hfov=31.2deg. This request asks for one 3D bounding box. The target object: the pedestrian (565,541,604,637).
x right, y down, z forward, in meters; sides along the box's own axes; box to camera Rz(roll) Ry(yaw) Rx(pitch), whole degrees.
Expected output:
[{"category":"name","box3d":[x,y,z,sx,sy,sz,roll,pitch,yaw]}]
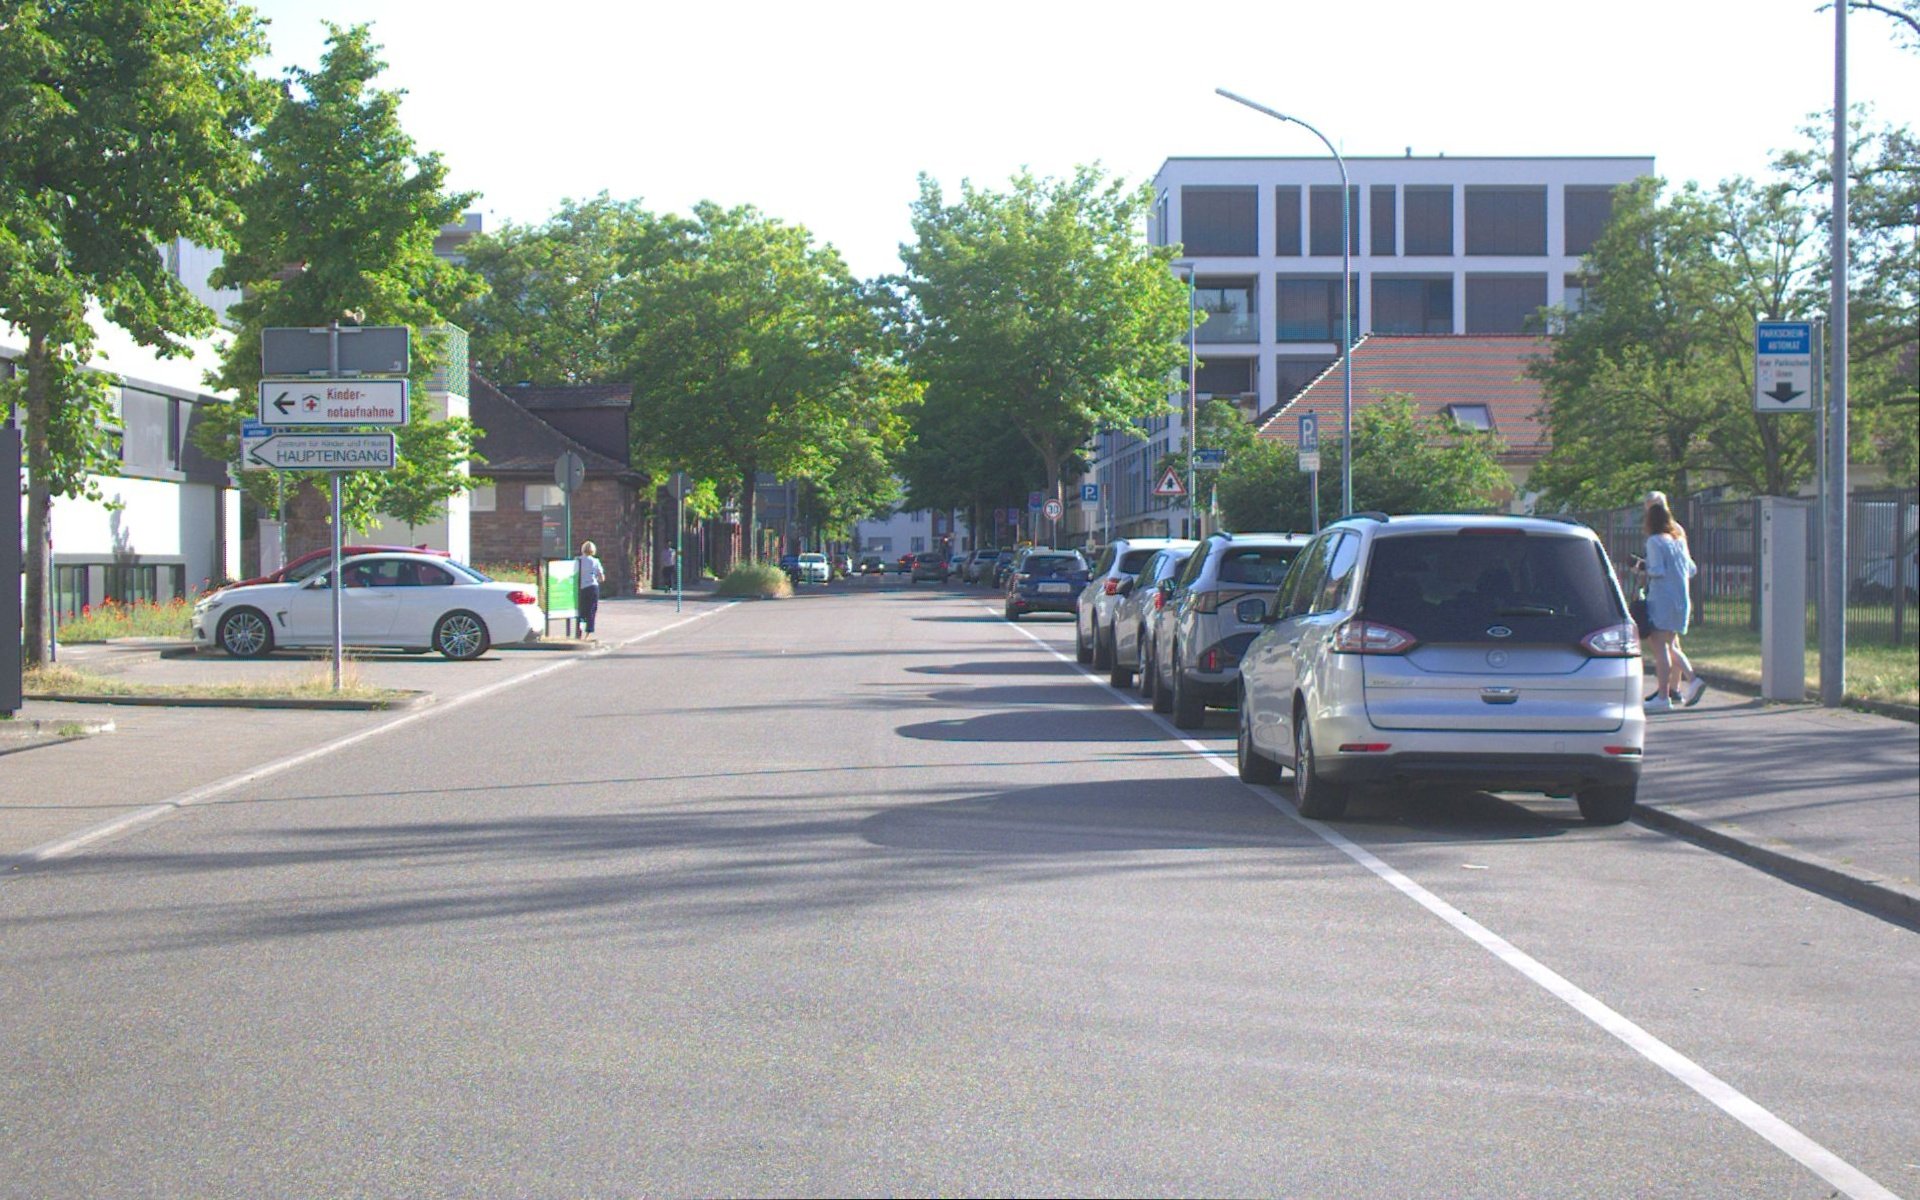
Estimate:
[{"category":"pedestrian","box3d":[-6.003,-0.185,54.992,0.538,1.518,0.607,0,1,0]}]

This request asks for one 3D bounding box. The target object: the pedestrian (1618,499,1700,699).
[{"category":"pedestrian","box3d":[6.053,-0.007,29.784,0.521,1.703,0.522,2,0,-3]}]

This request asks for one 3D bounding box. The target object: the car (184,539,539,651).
[{"category":"car","box3d":[-7.905,-0.079,45.739,4.511,1.362,1.700,1,1,-6]}]

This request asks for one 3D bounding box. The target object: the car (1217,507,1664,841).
[{"category":"car","box3d":[2.714,0.344,20.485,1.809,1.716,4.705,1,1,-2]}]

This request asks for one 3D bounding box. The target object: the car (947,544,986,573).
[{"category":"car","box3d":[0.309,-2.140,177.075,1.993,1.460,3.836,0,1,0]}]

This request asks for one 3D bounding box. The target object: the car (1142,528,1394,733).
[{"category":"car","box3d":[2.585,0.205,29.765,1.700,1.601,4.353,1,1,-1]}]

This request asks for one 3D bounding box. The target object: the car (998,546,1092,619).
[{"category":"car","box3d":[1.728,-0.386,70.984,1.818,1.448,4.214,0,1,0]}]

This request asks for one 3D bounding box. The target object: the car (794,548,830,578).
[{"category":"car","box3d":[-7.402,-1.872,171.735,1.767,1.482,4.000,0,1,-2]}]

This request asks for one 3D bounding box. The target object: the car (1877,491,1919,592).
[{"category":"car","box3d":[23.177,-1.302,76.057,5.285,2.194,2.000,0,2,5]}]

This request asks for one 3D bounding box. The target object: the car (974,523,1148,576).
[{"category":"car","box3d":[2.807,-1.412,95.765,4.522,1.437,1.768,-1,1,-25]}]

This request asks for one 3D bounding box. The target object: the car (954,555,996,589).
[{"category":"car","box3d":[0.694,-1.323,160.961,1.950,1.573,3.836,0,1,0]}]

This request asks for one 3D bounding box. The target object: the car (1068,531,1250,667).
[{"category":"car","box3d":[2.452,-0.055,43.339,1.813,1.583,4.263,1,1,-3]}]

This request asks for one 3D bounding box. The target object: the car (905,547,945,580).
[{"category":"car","box3d":[-1.693,-1.759,164.177,1.767,1.543,4.066,0,1,-2]}]

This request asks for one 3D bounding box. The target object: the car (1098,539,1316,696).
[{"category":"car","box3d":[2.497,0.139,35.625,1.700,1.482,3.981,1,1,-4]}]

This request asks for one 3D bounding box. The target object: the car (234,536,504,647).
[{"category":"car","box3d":[-8.339,-0.134,48.700,3.634,1.464,1.614,1,1,-6]}]

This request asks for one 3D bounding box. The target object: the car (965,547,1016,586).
[{"category":"car","box3d":[1.160,-1.291,131.971,1.767,1.435,4.000,0,1,-2]}]

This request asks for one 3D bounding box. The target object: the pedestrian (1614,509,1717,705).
[{"category":"pedestrian","box3d":[5.904,0.054,28.788,0.681,1.606,0.541,2,0,-3]}]
